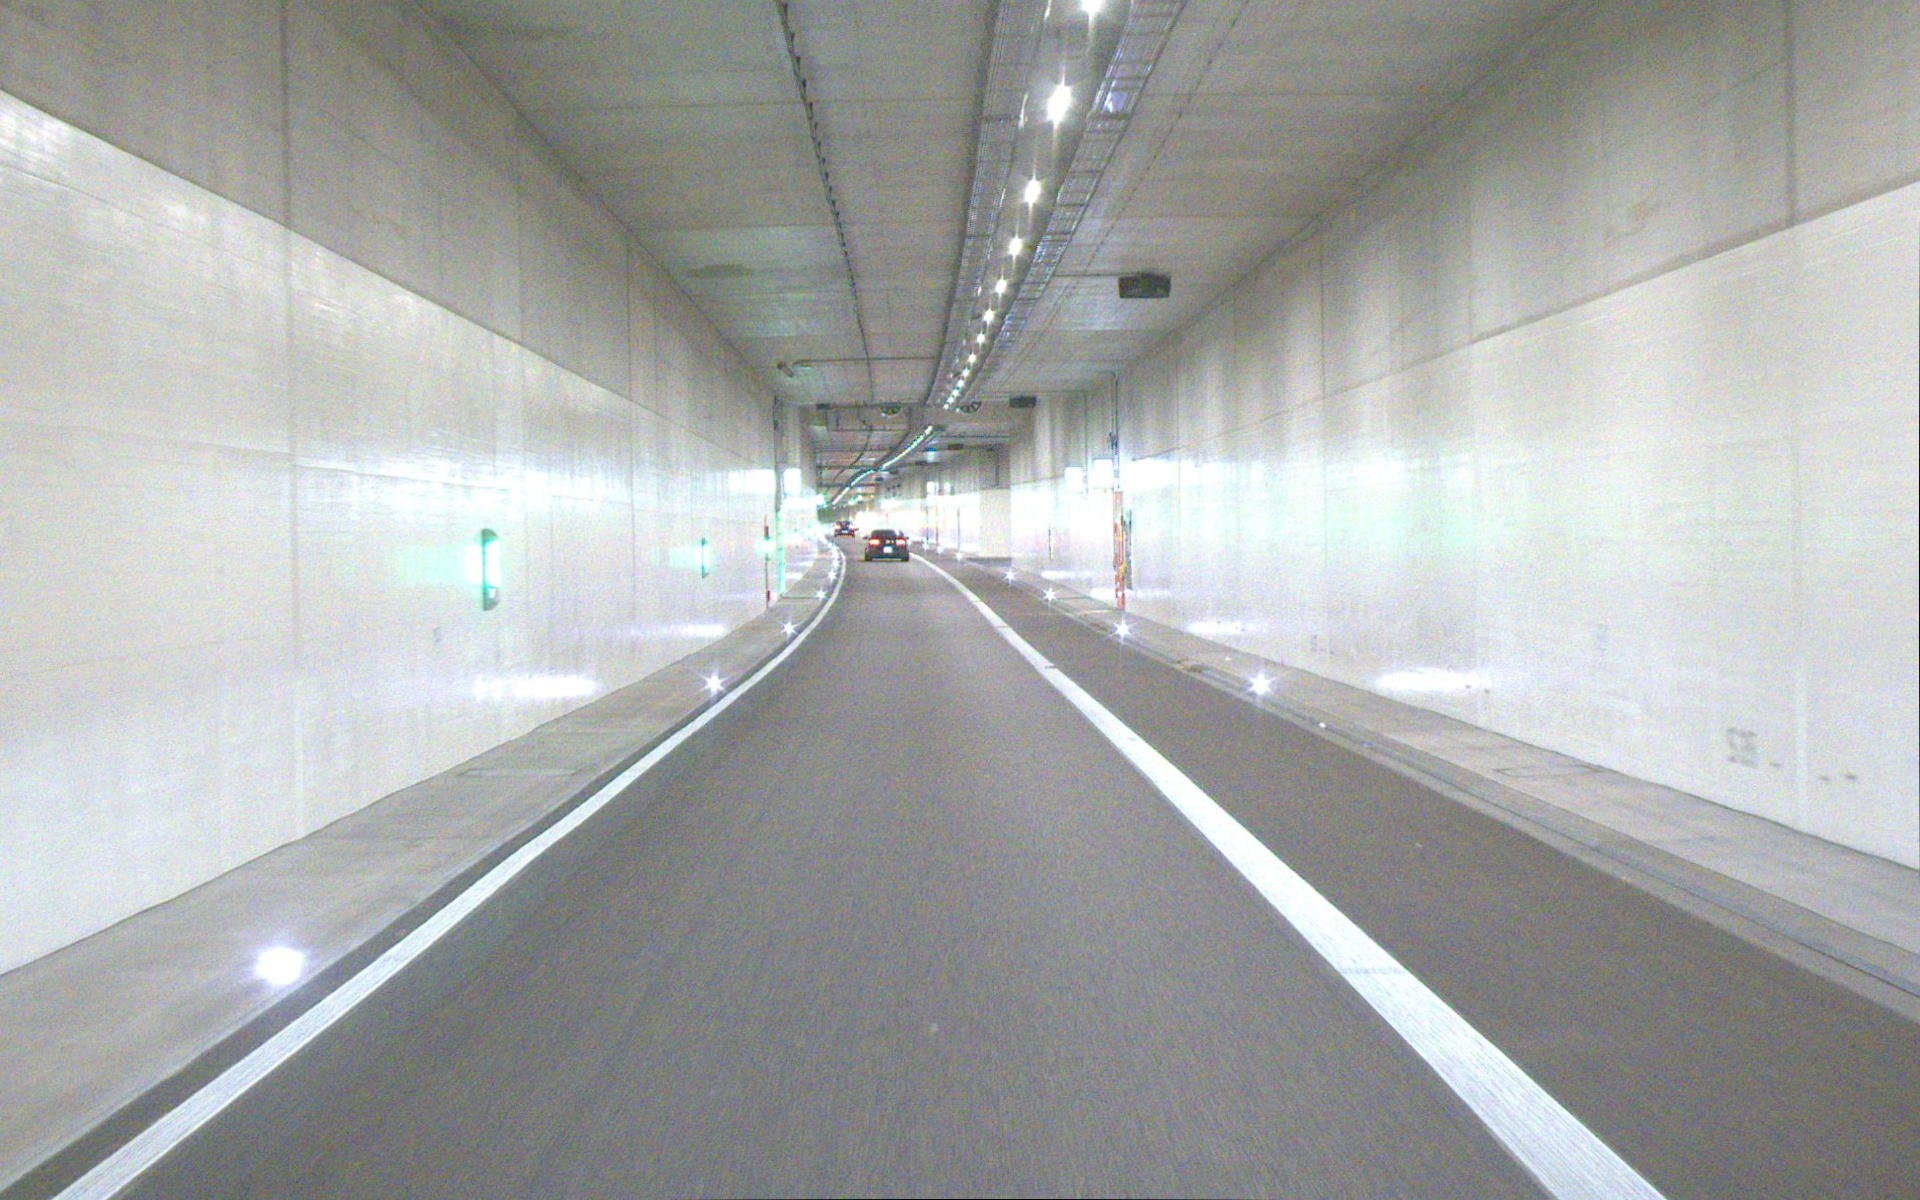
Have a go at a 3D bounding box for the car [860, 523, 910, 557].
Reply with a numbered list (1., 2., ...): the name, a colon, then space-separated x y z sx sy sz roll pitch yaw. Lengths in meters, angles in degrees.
1. car: -3.219 -2.571 147.074 1.993 1.415 4.001 1 1 -3
